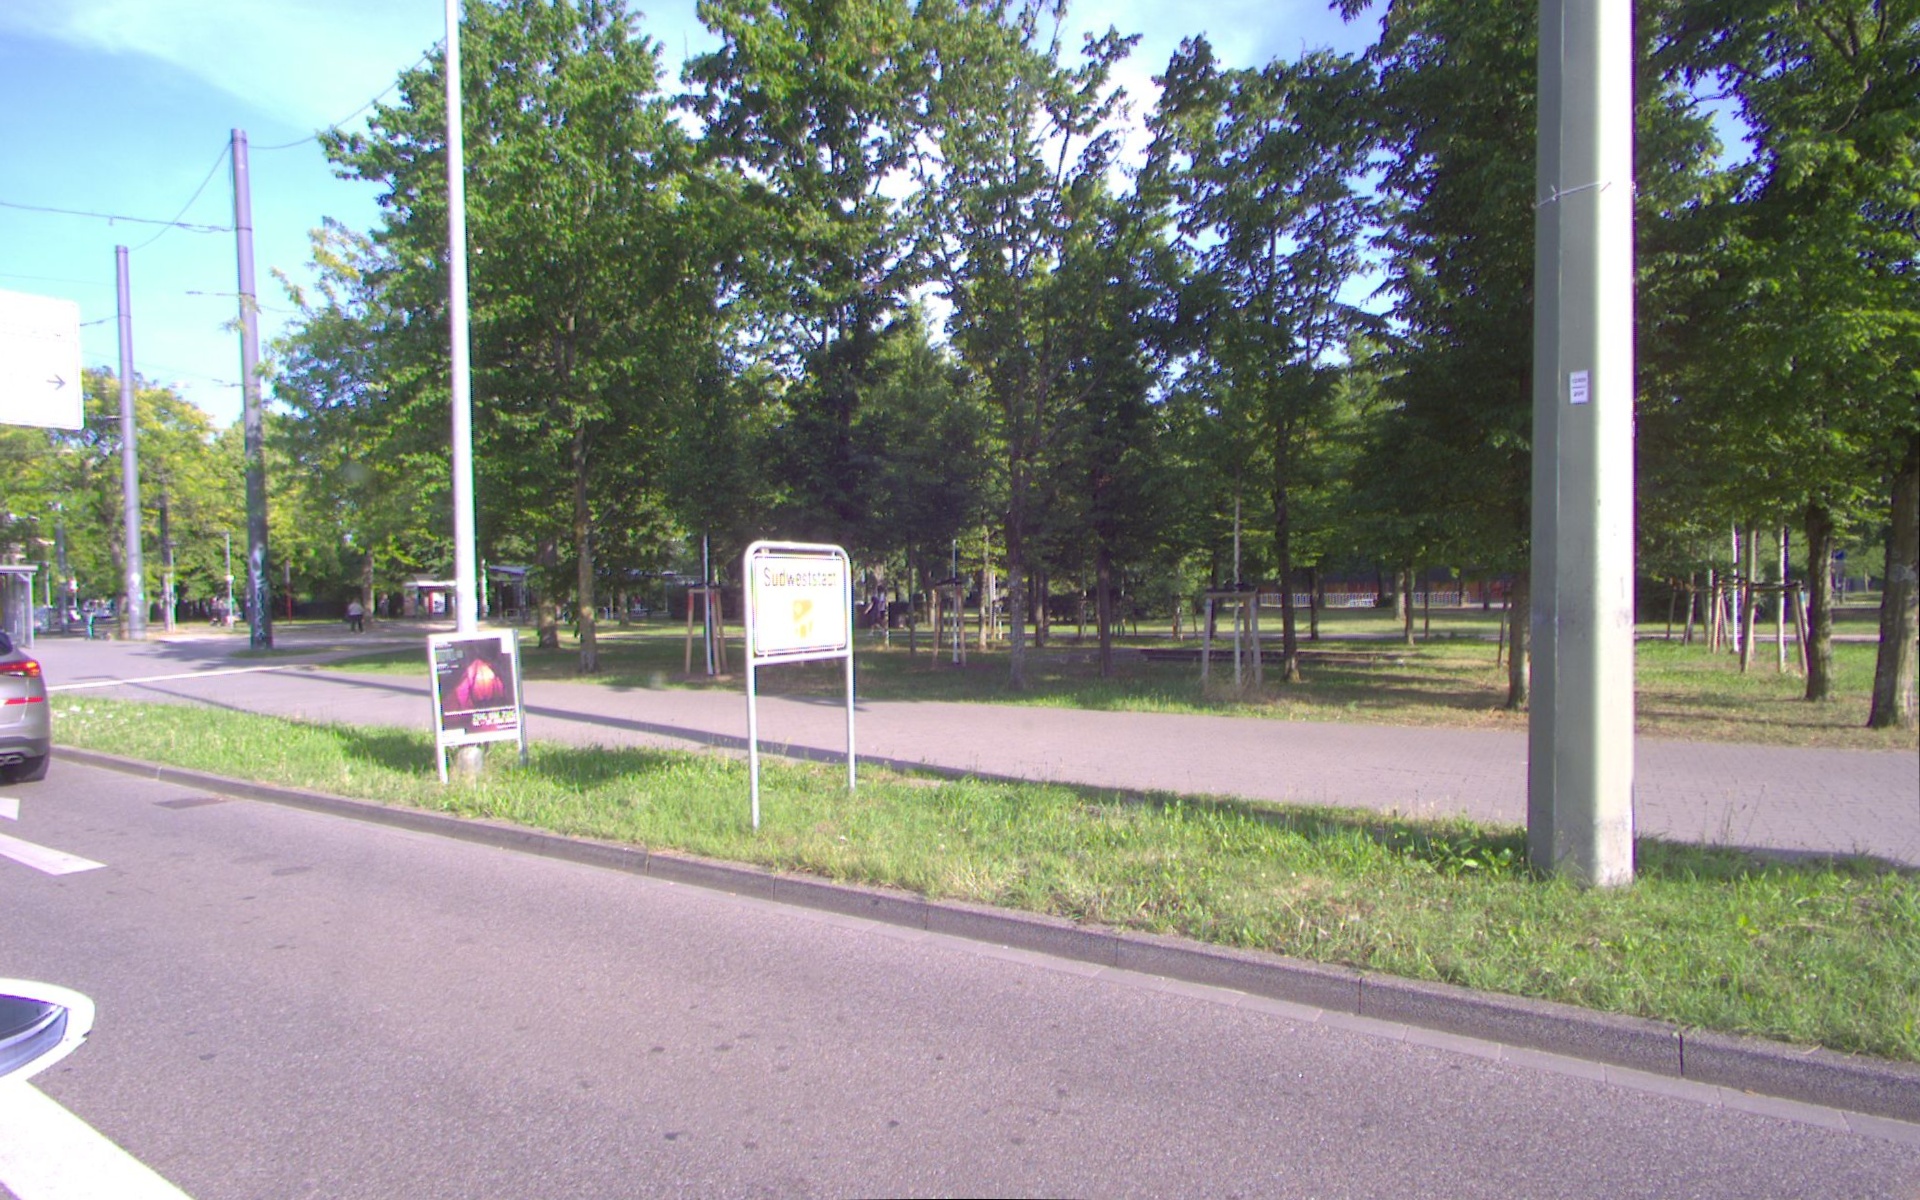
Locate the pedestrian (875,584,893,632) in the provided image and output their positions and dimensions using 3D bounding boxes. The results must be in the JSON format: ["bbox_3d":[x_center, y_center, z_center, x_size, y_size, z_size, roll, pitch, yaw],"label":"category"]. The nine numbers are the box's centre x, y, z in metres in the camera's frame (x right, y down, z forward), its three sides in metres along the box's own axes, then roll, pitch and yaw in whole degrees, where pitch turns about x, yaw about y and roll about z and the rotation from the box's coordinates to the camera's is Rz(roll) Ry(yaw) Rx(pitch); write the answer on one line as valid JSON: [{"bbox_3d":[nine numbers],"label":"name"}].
[{"bbox_3d":[-2.942,0.312,38.999,0.617,1.836,0.502,-1,1,3],"label":"pedestrian"}]

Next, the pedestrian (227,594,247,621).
[{"bbox_3d":[-40.003,0.412,55.407,0.804,1.508,0.696,-2,1,-33],"label":"pedestrian"}]

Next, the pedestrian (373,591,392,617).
[{"bbox_3d":[-36.920,0.244,64.014,0.792,1.659,0.832,0,1,38],"label":"pedestrian"}]

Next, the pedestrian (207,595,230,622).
[{"bbox_3d":[-41.043,0.467,55.425,0.687,1.508,0.815,-1,1,-9],"label":"pedestrian"}]

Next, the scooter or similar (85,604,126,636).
[{"bbox_3d":[-31.423,0.736,36.826,1.305,1.132,0.420,-1,1,13],"label":"scooter or similar"}]

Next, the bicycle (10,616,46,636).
[{"bbox_3d":[-37.558,1.058,40.346,2.138,0.767,0.494,-1,2,33],"label":"bicycle"}]

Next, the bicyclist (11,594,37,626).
[{"bbox_3d":[-37.706,0.404,40.328,0.856,1.279,0.533,0,1,32],"label":"bicyclist"}]

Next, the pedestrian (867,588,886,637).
[{"bbox_3d":[-3.174,0.455,37.960,0.617,1.836,0.502,-1,1,6],"label":"pedestrian"}]

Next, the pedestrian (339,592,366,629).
[{"bbox_3d":[-27.594,0.490,45.492,0.793,1.659,0.754,-1,1,-7],"label":"pedestrian"}]

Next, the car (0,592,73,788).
[{"bbox_3d":[-9.986,0.800,9.140,3.595,1.673,1.880,-1,1,32],"label":"car"}]

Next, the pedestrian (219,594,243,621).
[{"bbox_3d":[-41.107,0.422,56.452,0.688,1.508,0.813,0,1,22],"label":"pedestrian"}]

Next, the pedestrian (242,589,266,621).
[{"bbox_3d":[-40.263,0.300,57.138,0.826,1.809,0.798,0,1,28],"label":"pedestrian"}]
